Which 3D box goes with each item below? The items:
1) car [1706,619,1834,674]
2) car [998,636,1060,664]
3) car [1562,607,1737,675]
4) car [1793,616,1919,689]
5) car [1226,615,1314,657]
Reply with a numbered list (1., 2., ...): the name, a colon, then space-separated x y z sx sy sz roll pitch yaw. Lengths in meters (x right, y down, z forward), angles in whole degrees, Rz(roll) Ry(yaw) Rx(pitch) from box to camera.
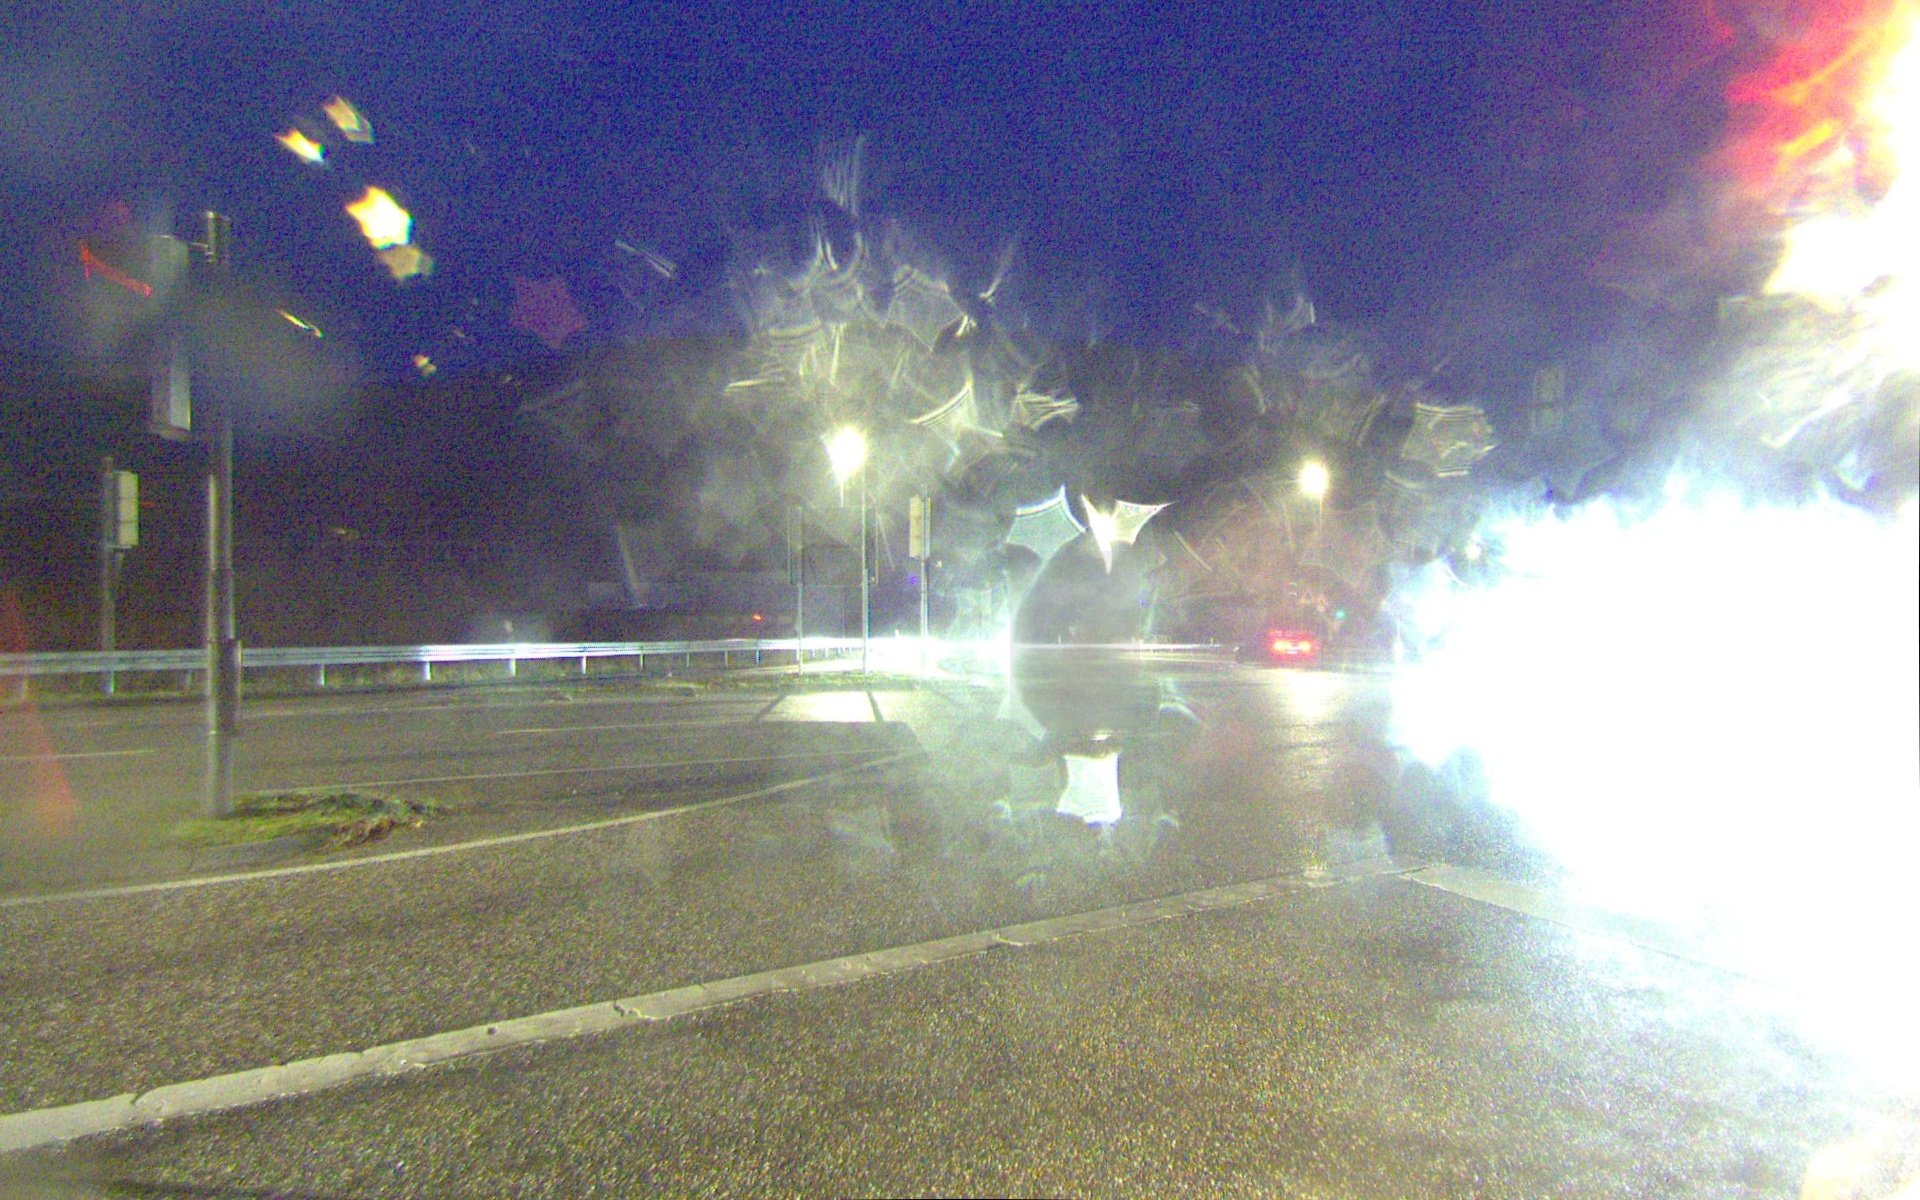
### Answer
1. car: 23.497 1.355 29.115 3.683 1.473 1.660 2 -1 -29
2. car: 4.119 2.920 59.233 2.141 1.468 4.131 1 -1 28
3. car: 17.650 1.031 25.653 4.855 1.592 1.784 1 -1 -30
4. car: 22.233 1.232 24.196 4.652 1.592 1.692 1 -1 -28
5. car: 14.215 1.616 46.285 1.698 1.856 3.977 1 -1 -24
